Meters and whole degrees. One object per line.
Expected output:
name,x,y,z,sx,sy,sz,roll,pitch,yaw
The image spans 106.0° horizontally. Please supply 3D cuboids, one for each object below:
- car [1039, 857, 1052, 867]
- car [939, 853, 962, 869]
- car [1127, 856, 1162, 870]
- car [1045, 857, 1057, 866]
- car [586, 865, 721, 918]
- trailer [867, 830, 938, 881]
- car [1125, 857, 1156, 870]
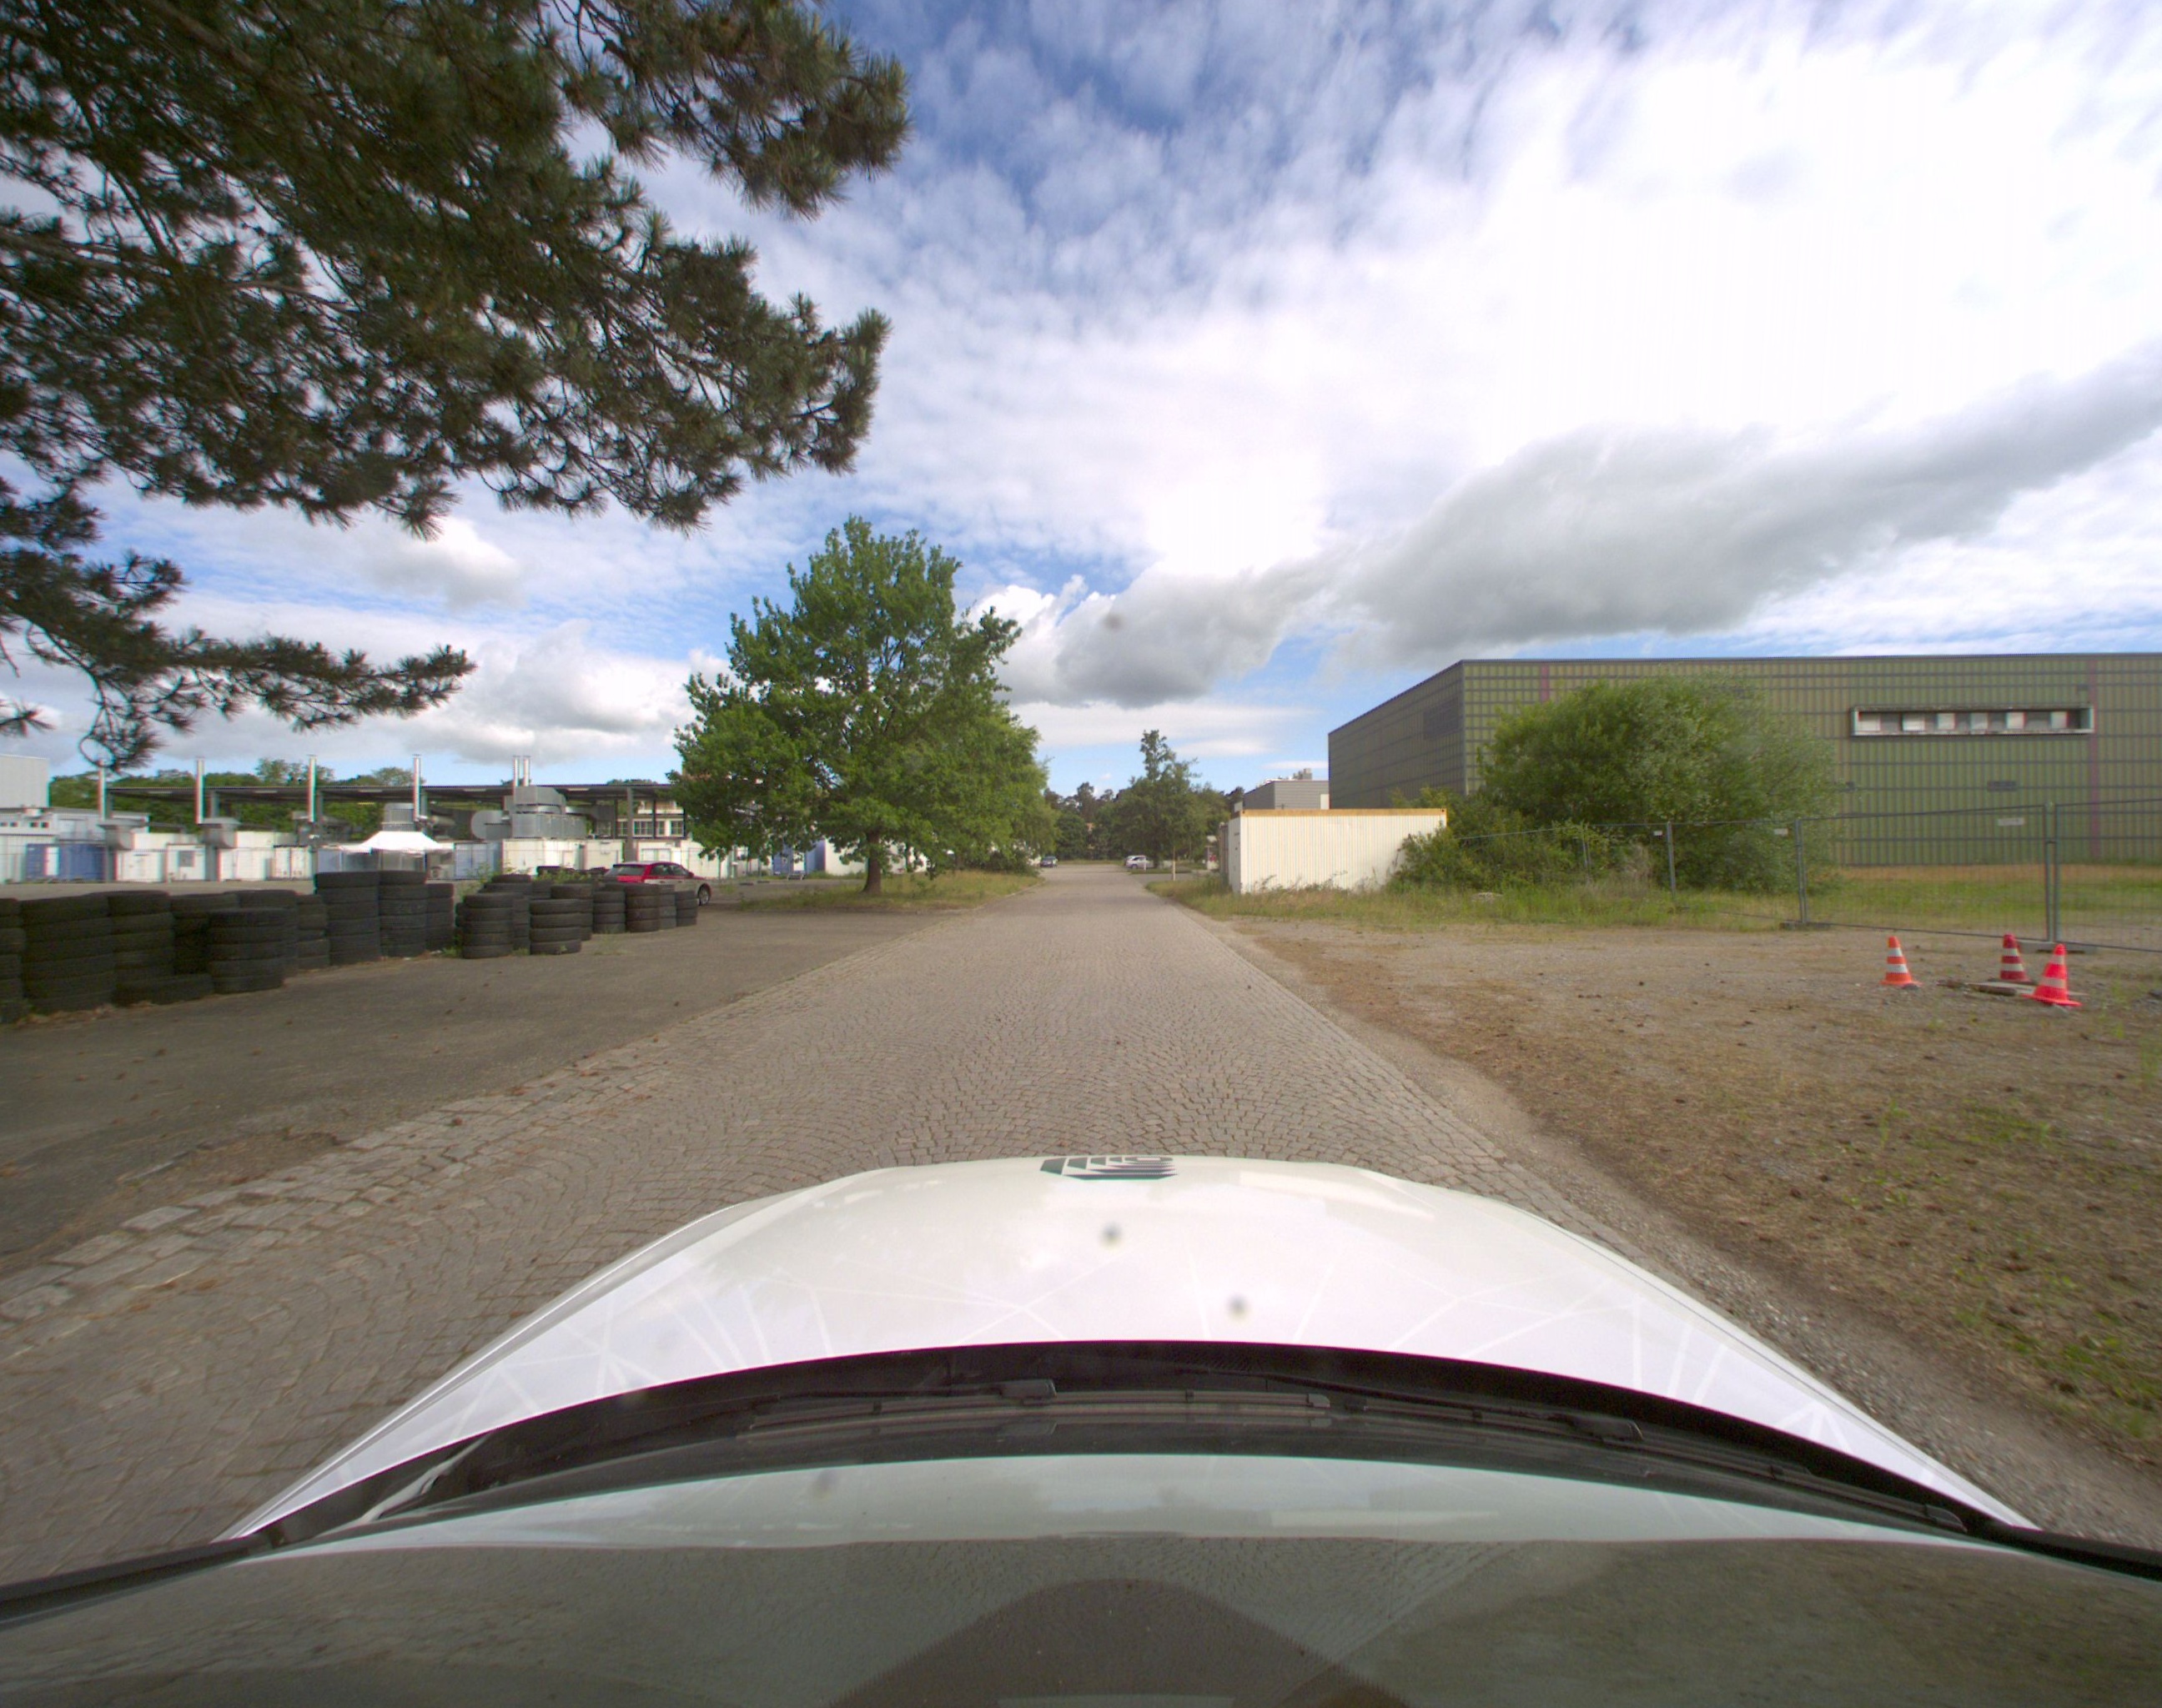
car,-4.974,1.173,114.913,1.642,1.369,3.999,0,0,1
car,-16.520,0.901,103.063,1.986,2.013,4.769,0,0,2
car,7.425,1.102,95.847,3.970,1.448,1.654,-2,0,1
car,-4.591,1.133,125.254,1.642,1.458,3.999,0,0,1
car,-13.042,1.089,25.152,1.617,1.433,4.072,-1,0,7
trailer,-13.652,0.140,63.161,2.614,3.598,10.187,0,0,4
car,6.809,1.071,93.162,3.509,1.362,1.623,-2,0,1
